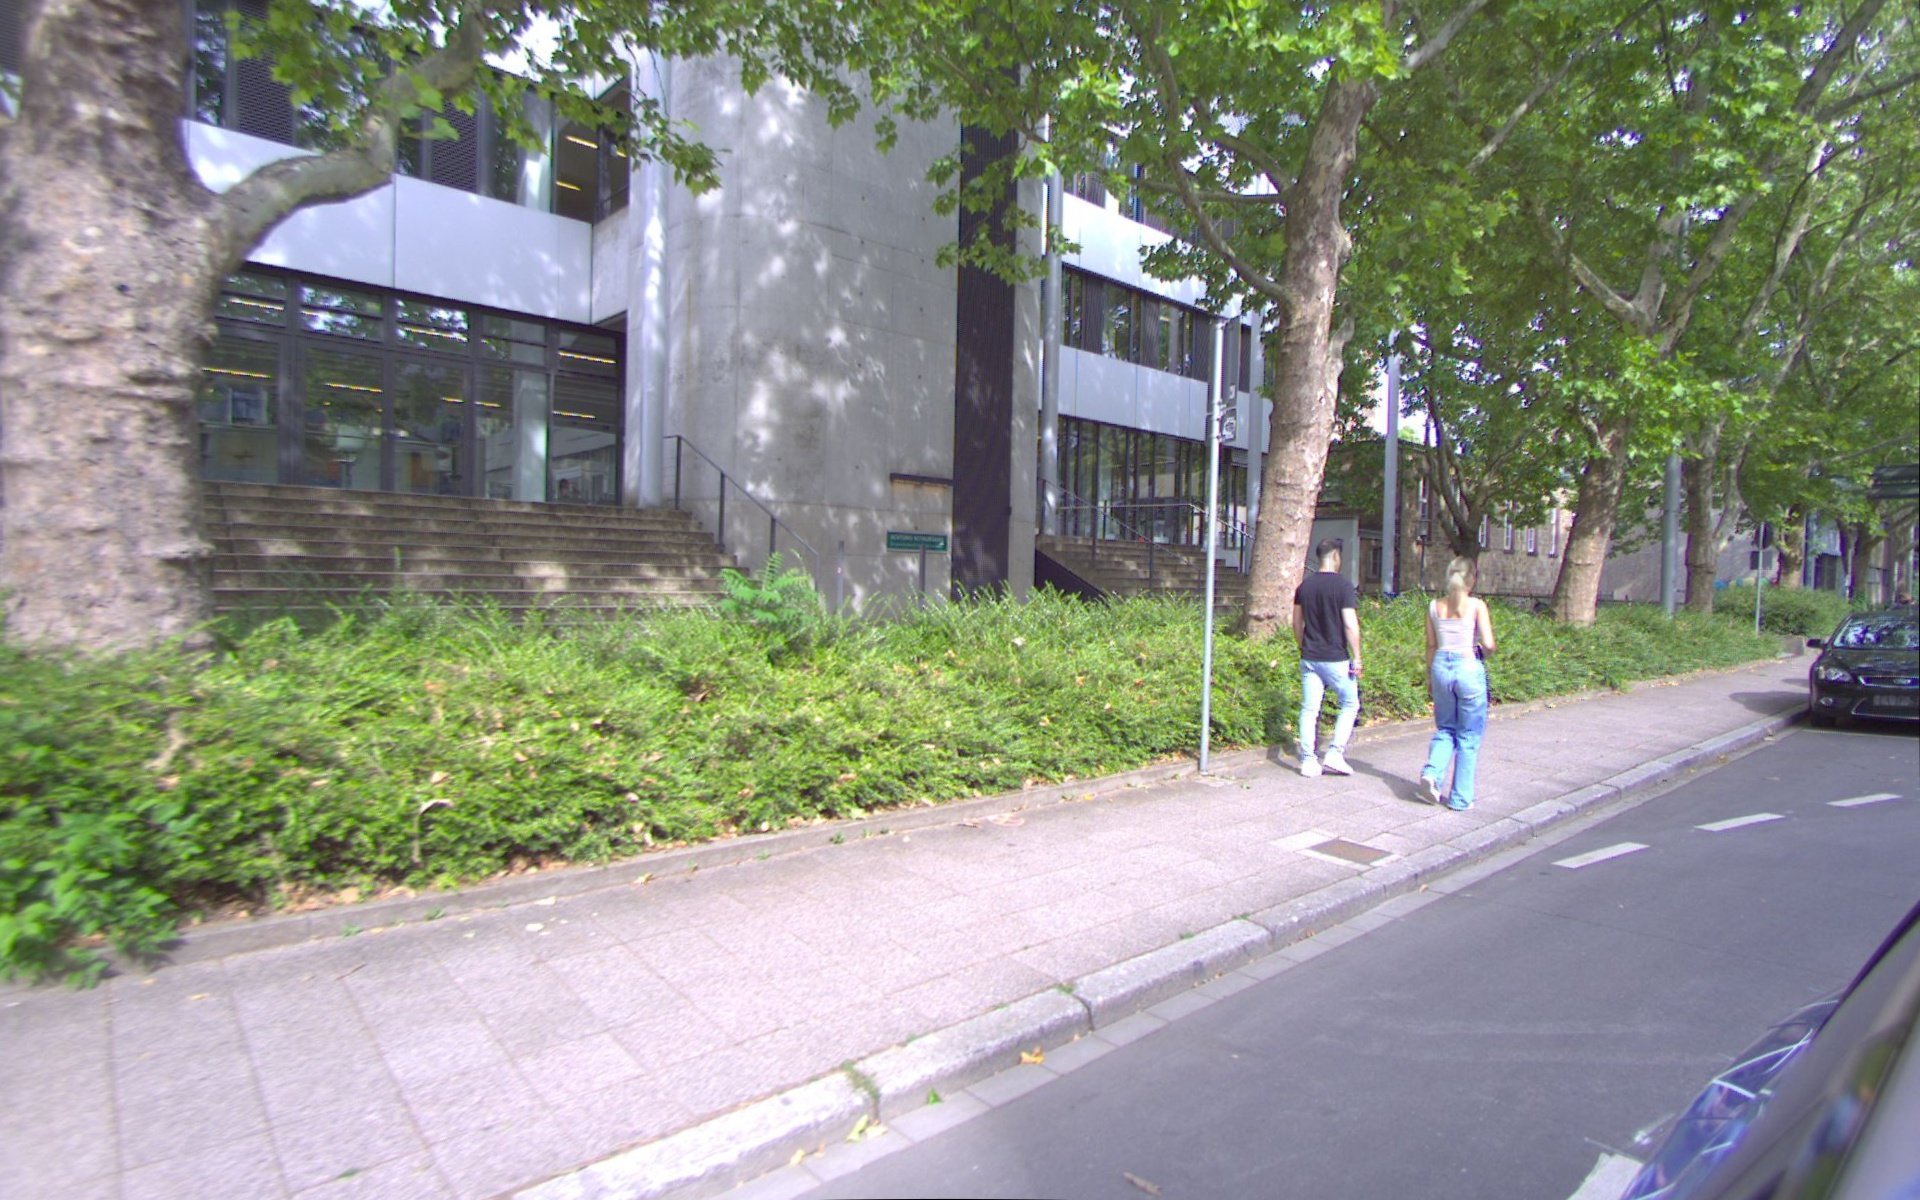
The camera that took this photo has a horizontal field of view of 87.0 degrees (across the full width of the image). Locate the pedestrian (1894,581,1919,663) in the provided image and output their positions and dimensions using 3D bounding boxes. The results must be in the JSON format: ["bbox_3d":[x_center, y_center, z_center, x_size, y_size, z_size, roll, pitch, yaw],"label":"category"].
[{"bbox_3d":[21.676,0.489,22.796,0.766,1.839,0.872,0,0,-42],"label":"pedestrian"}]

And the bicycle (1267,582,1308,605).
[{"bbox_3d":[13.448,-0.263,41.626,0.499,0.889,1.625,-2,3,-36],"label":"bicycle"}]

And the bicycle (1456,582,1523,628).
[{"bbox_3d":[14.052,0.129,26.881,0.461,1.131,1.447,0,3,-44],"label":"bicycle"}]

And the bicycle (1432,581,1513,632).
[{"bbox_3d":[12.471,0.148,24.635,1.685,1.131,0.616,3,2,30],"label":"bicycle"}]

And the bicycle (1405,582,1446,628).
[{"bbox_3d":[11.791,0.114,25.596,0.491,1.131,1.415,3,2,42],"label":"bicycle"}]

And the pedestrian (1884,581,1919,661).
[{"bbox_3d":[22.739,0.490,24.322,0.691,1.878,0.722,0,0,-42],"label":"pedestrian"}]

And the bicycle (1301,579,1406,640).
[{"bbox_3d":[8.150,0.173,21.024,0.662,1.131,1.919,0,3,-41],"label":"bicycle"}]

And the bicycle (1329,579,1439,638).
[{"bbox_3d":[9.141,0.163,21.887,0.662,1.131,2.083,0,3,-41],"label":"bicycle"}]

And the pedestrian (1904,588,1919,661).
[{"bbox_3d":[22.256,0.558,23.294,0.643,1.679,0.722,0,0,-42],"label":"pedestrian"}]

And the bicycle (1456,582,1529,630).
[{"bbox_3d":[13.569,0.149,25.815,1.538,1.131,0.461,4,2,42],"label":"bicycle"}]

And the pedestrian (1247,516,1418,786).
[{"bbox_3d":[2.737,0.323,7.427,1.016,1.821,0.716,0,4,-43],"label":"pedestrian"}]

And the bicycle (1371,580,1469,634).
[{"bbox_3d":[10.573,0.144,23.333,0.662,1.131,1.919,0,3,-41],"label":"bicycle"}]

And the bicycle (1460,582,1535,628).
[{"bbox_3d":[14.695,0.120,27.674,1.674,1.131,0.595,4,3,43],"label":"bicycle"}]

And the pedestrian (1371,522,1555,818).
[{"bbox_3d":[3.381,0.408,6.794,1.016,1.805,0.712,0,4,-43],"label":"pedestrian"}]

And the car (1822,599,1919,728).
[{"bbox_3d":[12.315,0.713,12.866,4.349,1.443,1.698,0,0,-45],"label":"car"}]

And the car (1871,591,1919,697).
[{"bbox_3d":[15.277,0.643,15.548,2.552,1.563,1.539,0,0,-39],"label":"car"}]

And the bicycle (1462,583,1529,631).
[{"bbox_3d":[13.397,0.158,25.348,1.377,1.131,0.461,4,2,42],"label":"bicycle"}]

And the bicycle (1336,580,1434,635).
[{"bbox_3d":[9.599,0.145,22.921,0.662,1.131,1.919,0,3,-41],"label":"bicycle"}]
